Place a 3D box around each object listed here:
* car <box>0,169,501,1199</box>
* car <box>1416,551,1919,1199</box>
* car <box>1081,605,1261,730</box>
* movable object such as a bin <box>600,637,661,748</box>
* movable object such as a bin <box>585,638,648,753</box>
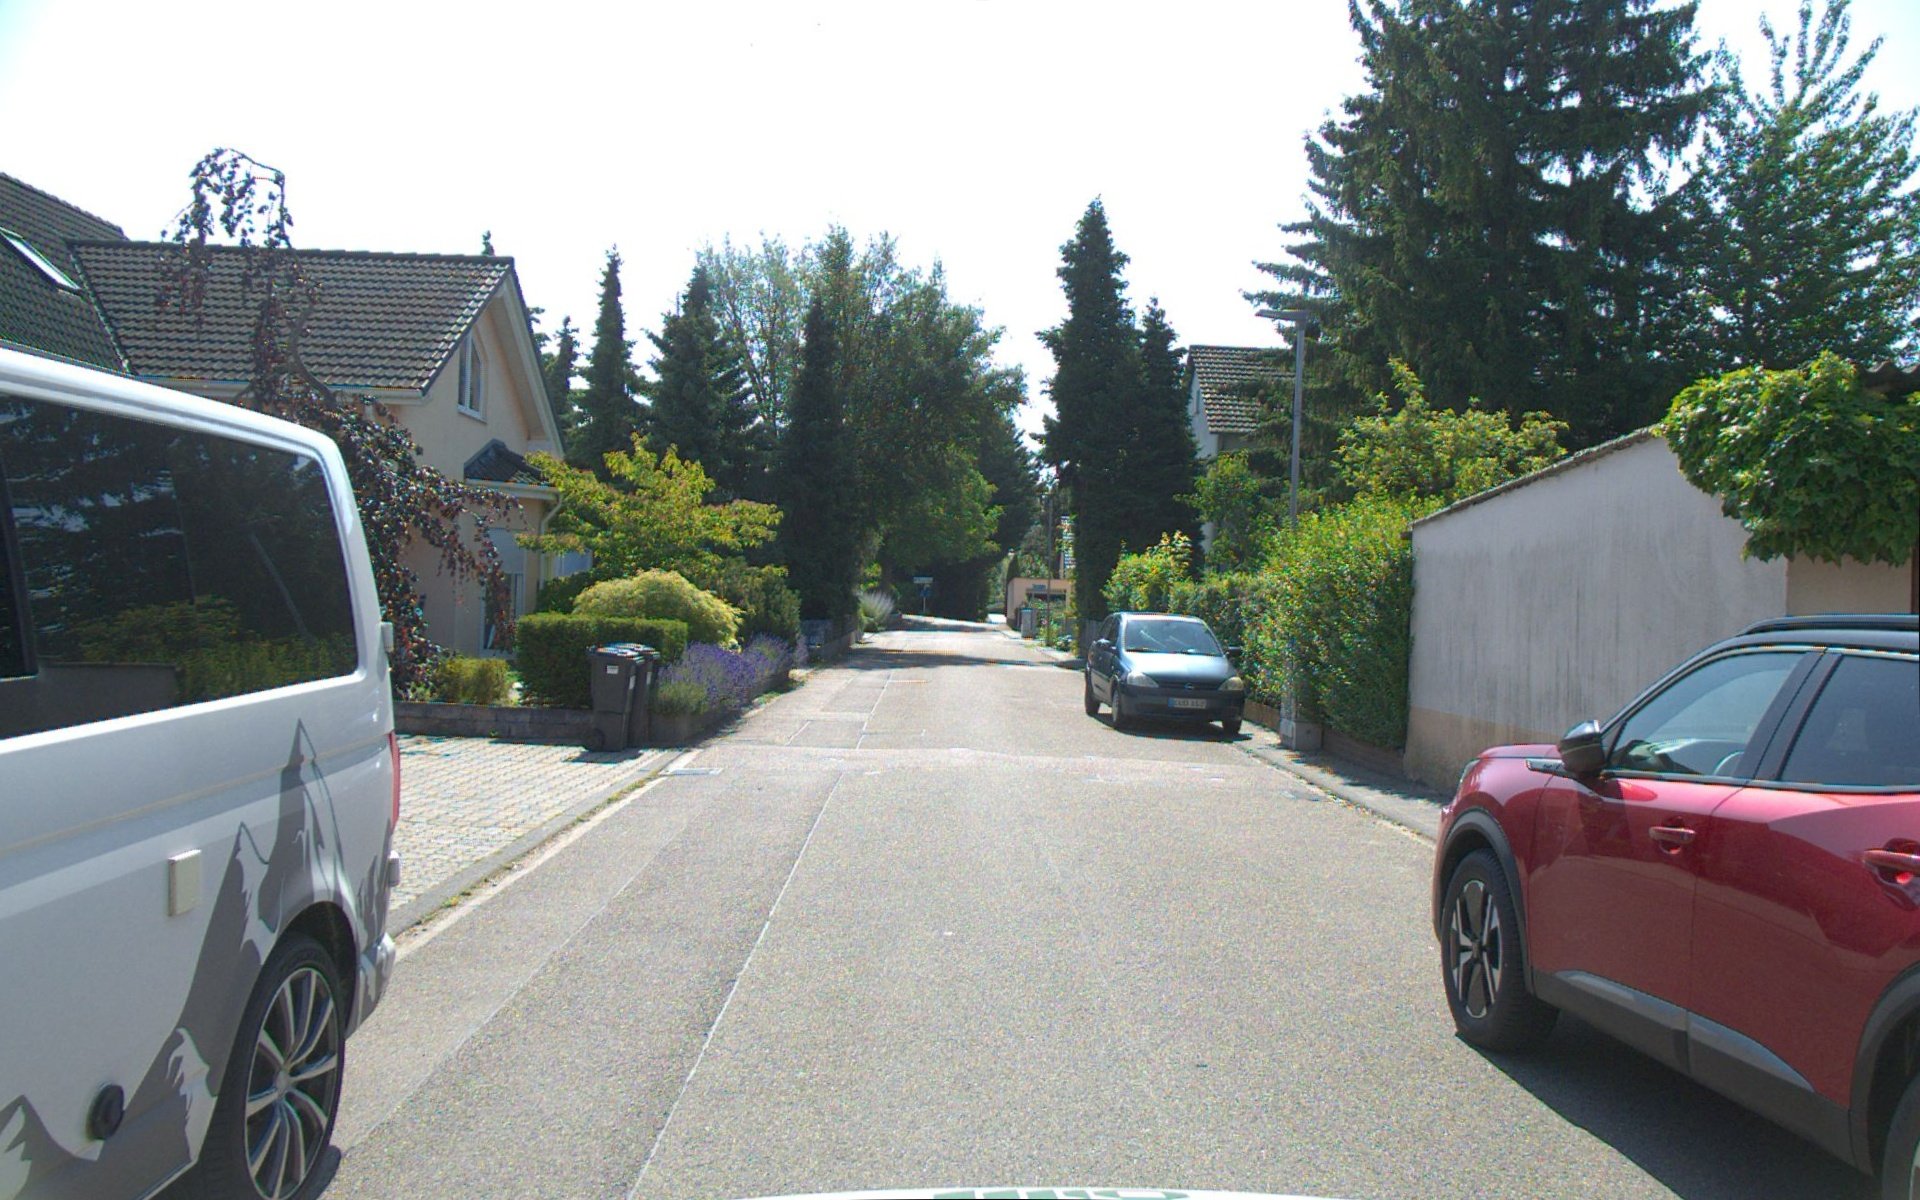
[{"bbox_3d":[-2.346,0.379,2.407,1.889,2.049,4.896,2,0,1],"label":"car"},{"bbox_3d":[2.822,0.756,4.533,1.786,1.643,3.997,2,0,-4],"label":"car"},{"bbox_3d":[2.676,0.815,21.760,1.668,1.424,3.998,2,0,-2],"label":"car"},{"bbox_3d":[-3.173,0.885,15.955,0.484,1.042,0.447,1,0,-1],"label":"movable object such as a bin"},{"bbox_3d":[-3.215,0.886,15.491,0.484,1.042,0.447,1,0,-1],"label":"movable object such as a bin"}]
